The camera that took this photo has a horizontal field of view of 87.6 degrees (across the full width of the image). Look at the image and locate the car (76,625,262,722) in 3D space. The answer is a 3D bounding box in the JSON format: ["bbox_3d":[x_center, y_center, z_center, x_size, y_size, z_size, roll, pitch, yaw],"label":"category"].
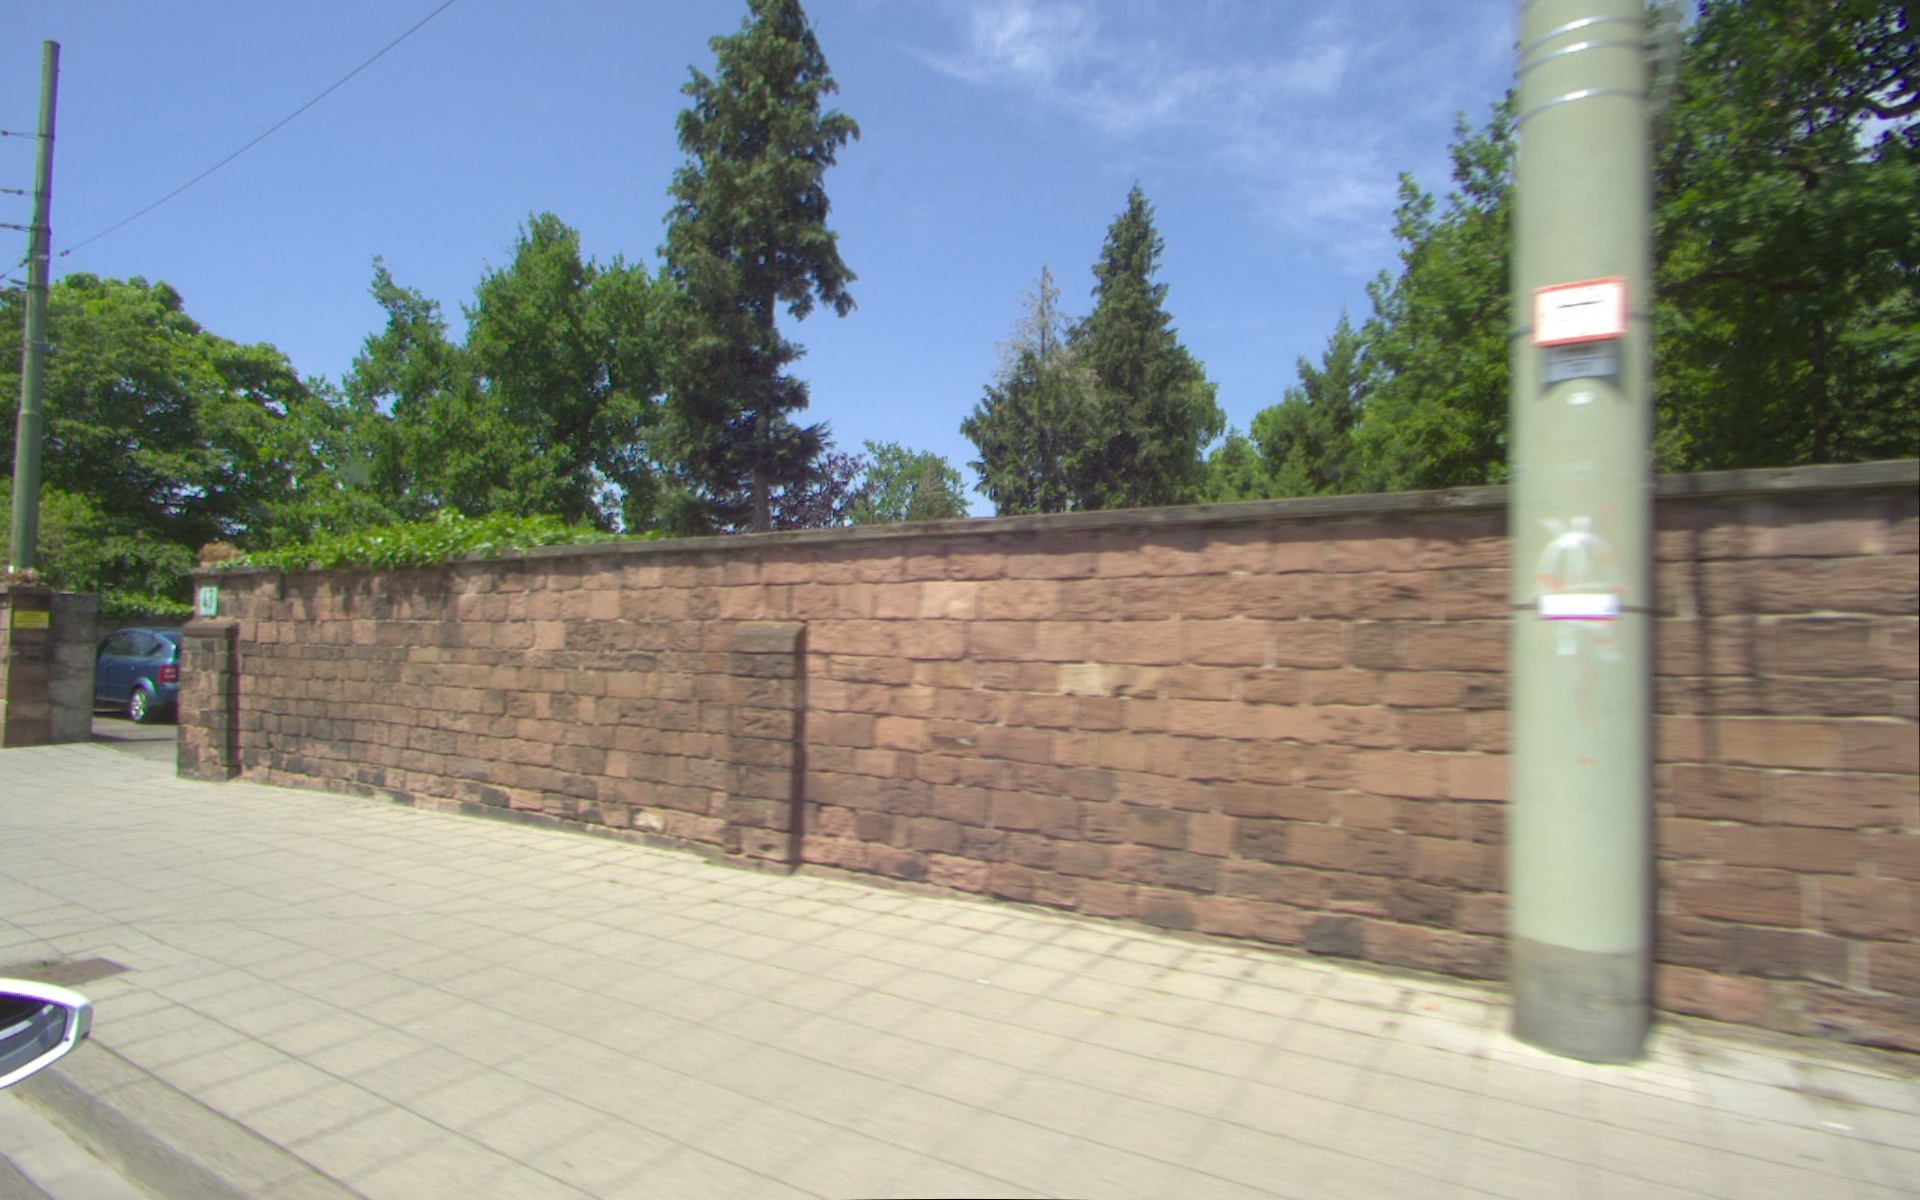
[{"bbox_3d":[-13.540,1.229,17.132,2.901,1.500,1.480,0,-4,31],"label":"car"}]
